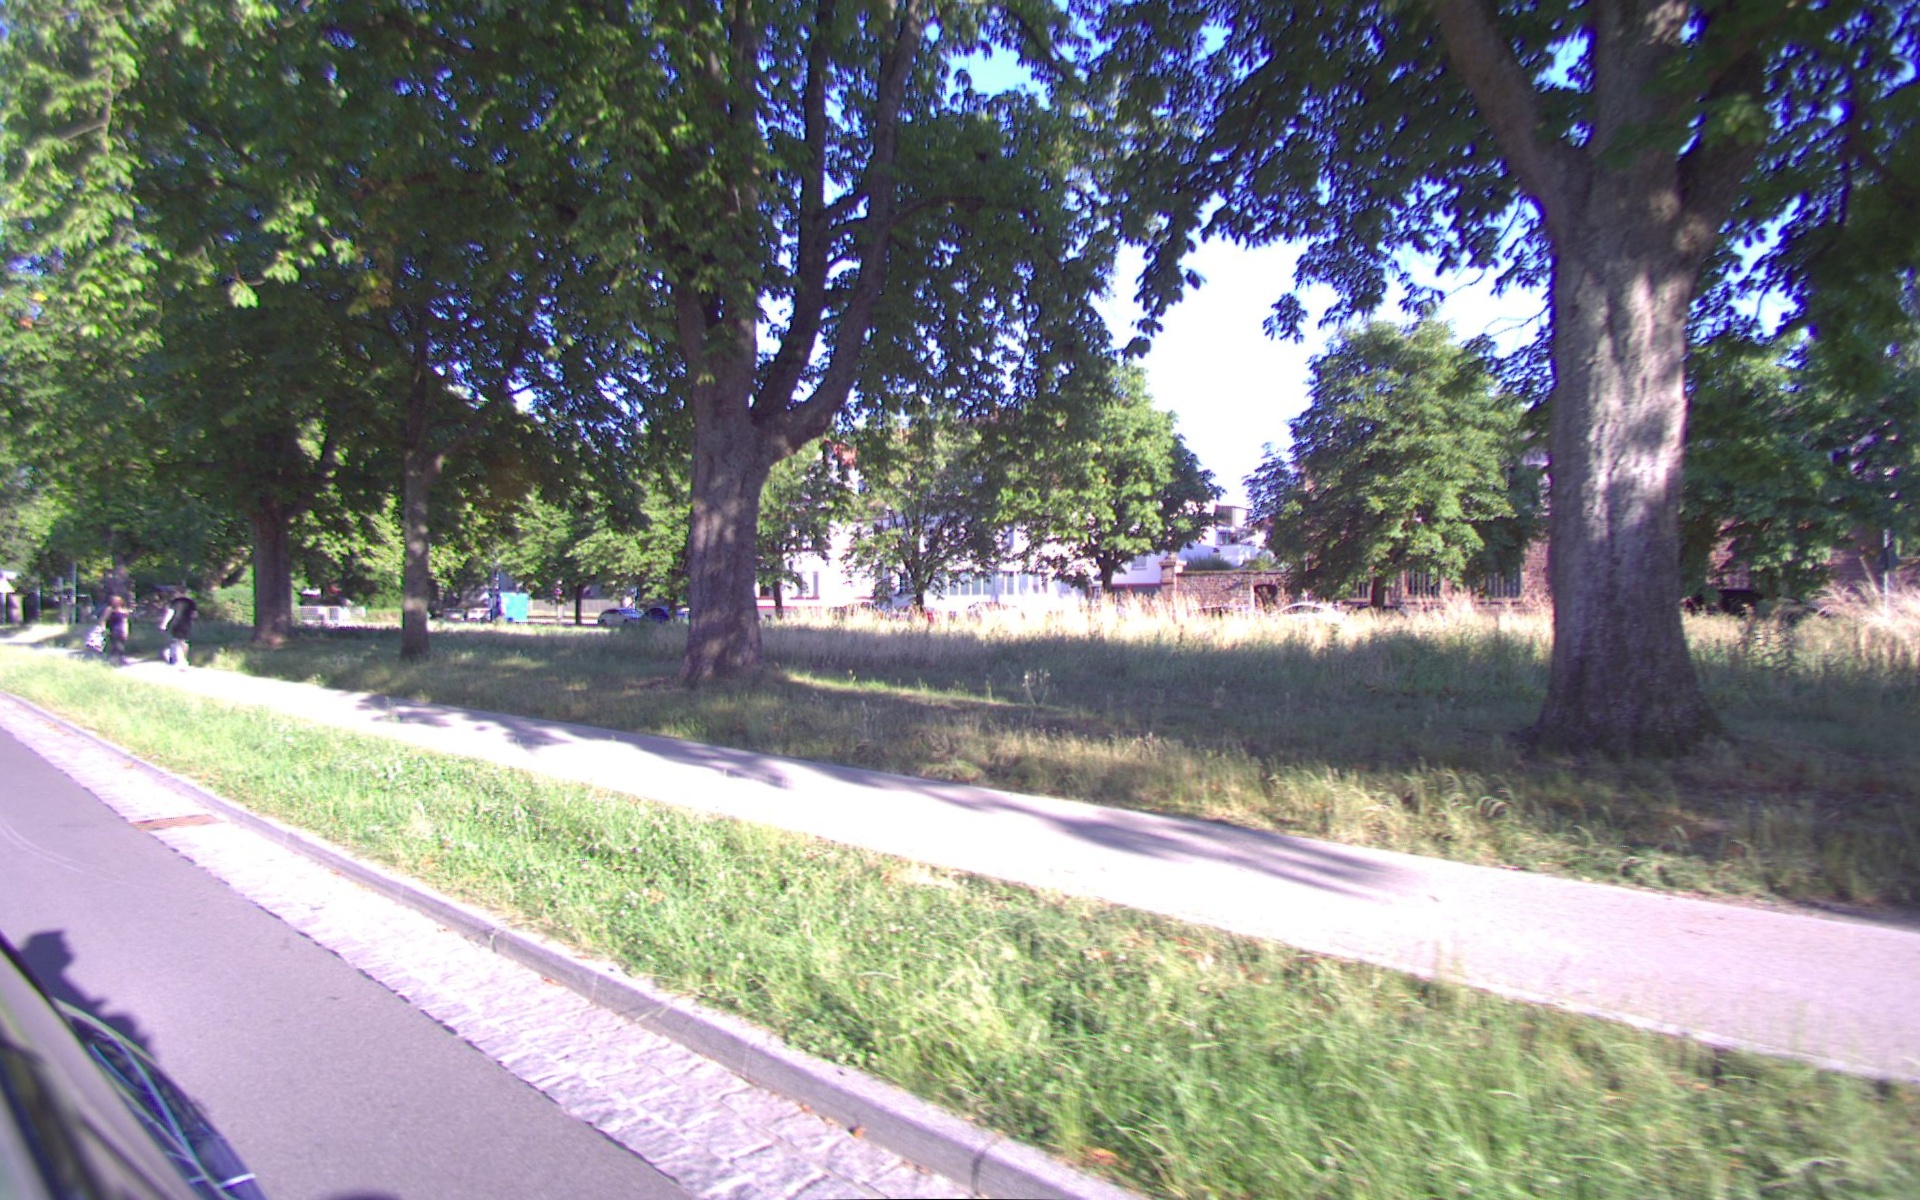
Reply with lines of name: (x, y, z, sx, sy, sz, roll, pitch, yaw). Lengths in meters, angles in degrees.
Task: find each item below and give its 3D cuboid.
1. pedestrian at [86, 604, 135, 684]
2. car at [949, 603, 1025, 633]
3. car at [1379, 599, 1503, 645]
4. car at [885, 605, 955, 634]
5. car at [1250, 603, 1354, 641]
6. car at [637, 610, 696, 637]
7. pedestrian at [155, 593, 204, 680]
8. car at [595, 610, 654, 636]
pedestrian: (-18.133, 0.921, 21.604, 0.616, 1.643, 0.607, -1, 1, -23)
car: (1.406, 0.931, 53.906, 3.794, 1.490, 1.744, 0, 1, 41)
car: (18.457, 0.829, 38.914, 3.998, 1.641, 1.744, -1, 1, 41)
car: (-2.259, 1.062, 56.954, 3.794, 1.490, 1.744, 0, 1, 41)
car: (14.387, 0.888, 42.670, 3.793, 1.490, 1.744, 0, 1, 41)
car: (-18.953, 1.465, 65.257, 3.998, 1.641, 1.744, -1, 1, 41)
pedestrian: (-17.082, 0.778, 22.164, 0.616, 1.865, 0.606, -1, 1, -10)
car: (-22.816, 1.551, 68.716, 4.424, 1.641, 1.849, -1, 1, 41)
